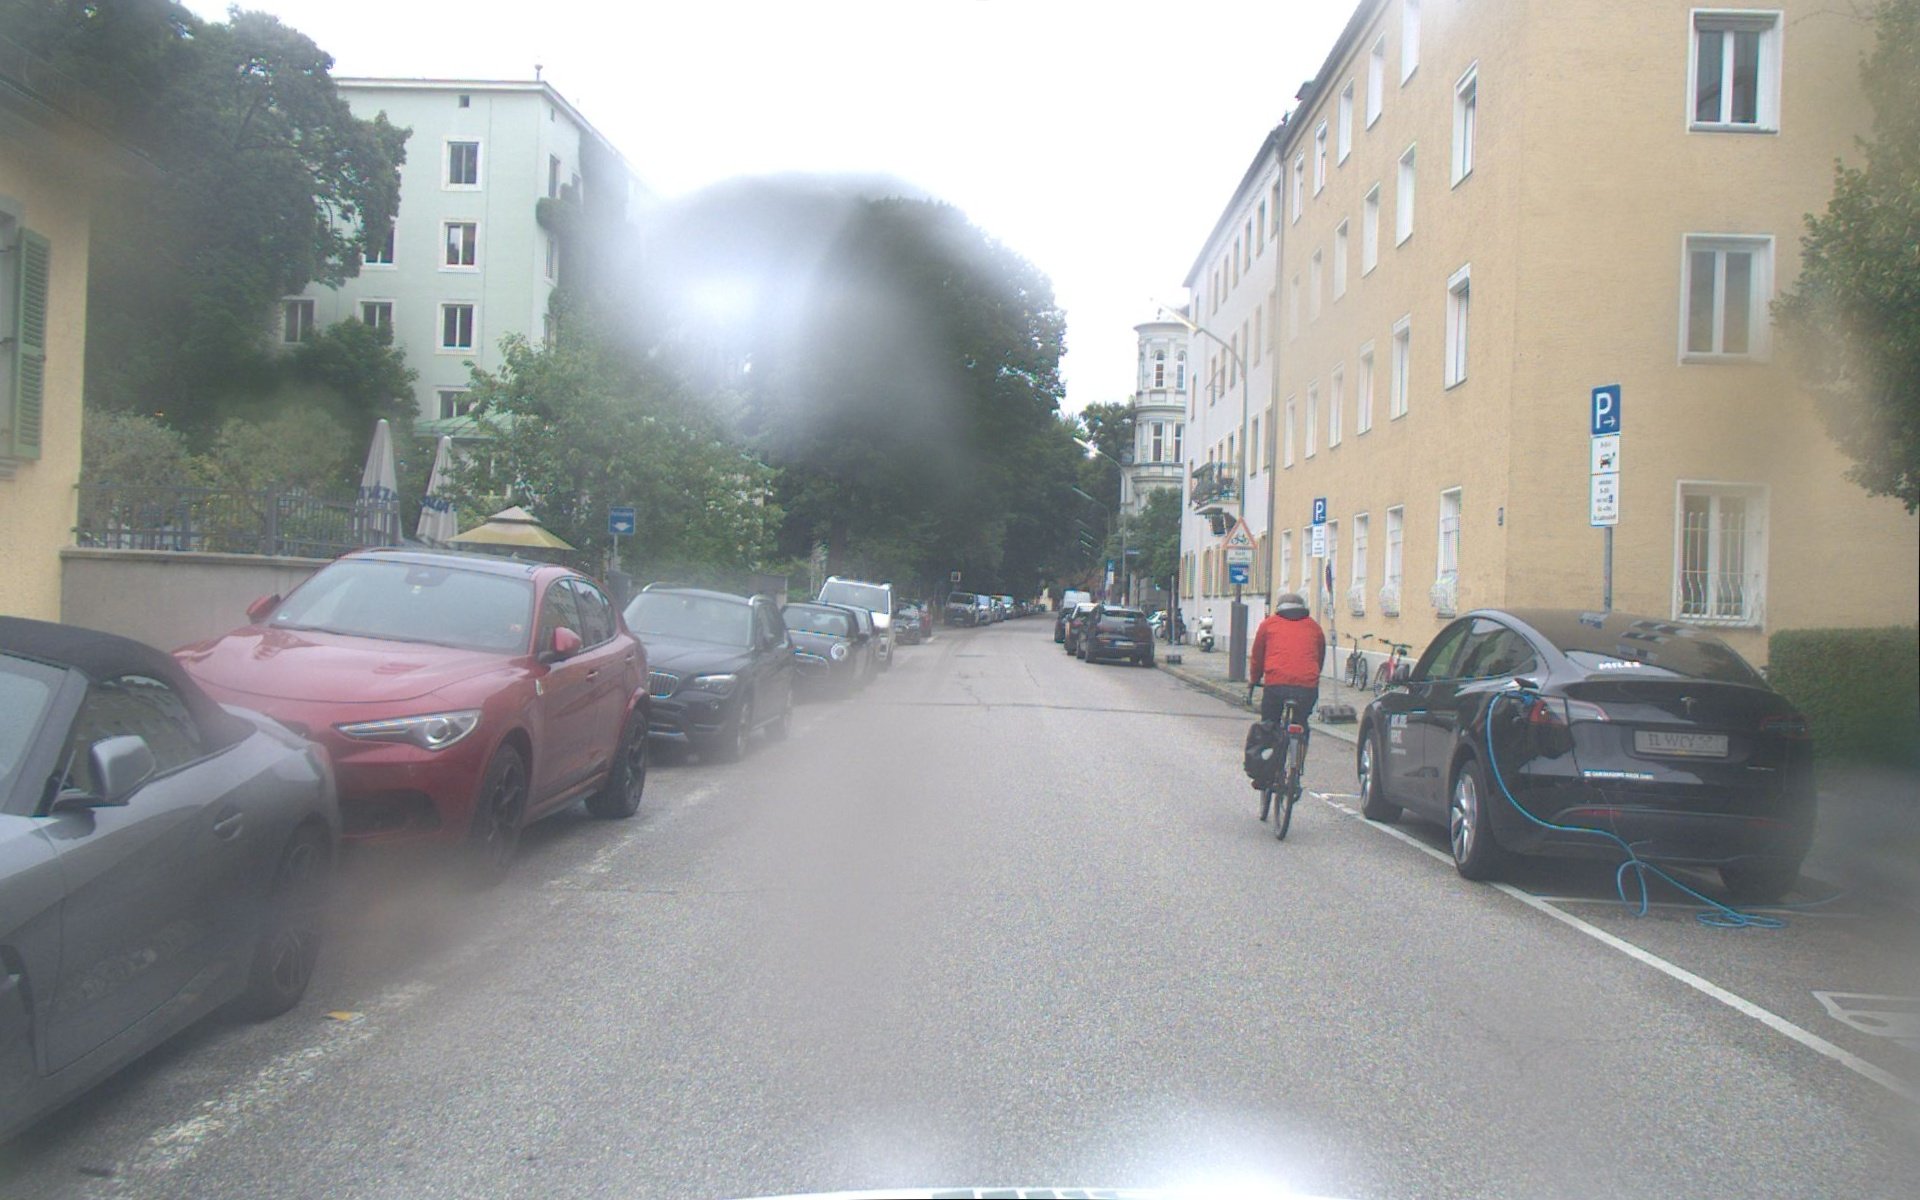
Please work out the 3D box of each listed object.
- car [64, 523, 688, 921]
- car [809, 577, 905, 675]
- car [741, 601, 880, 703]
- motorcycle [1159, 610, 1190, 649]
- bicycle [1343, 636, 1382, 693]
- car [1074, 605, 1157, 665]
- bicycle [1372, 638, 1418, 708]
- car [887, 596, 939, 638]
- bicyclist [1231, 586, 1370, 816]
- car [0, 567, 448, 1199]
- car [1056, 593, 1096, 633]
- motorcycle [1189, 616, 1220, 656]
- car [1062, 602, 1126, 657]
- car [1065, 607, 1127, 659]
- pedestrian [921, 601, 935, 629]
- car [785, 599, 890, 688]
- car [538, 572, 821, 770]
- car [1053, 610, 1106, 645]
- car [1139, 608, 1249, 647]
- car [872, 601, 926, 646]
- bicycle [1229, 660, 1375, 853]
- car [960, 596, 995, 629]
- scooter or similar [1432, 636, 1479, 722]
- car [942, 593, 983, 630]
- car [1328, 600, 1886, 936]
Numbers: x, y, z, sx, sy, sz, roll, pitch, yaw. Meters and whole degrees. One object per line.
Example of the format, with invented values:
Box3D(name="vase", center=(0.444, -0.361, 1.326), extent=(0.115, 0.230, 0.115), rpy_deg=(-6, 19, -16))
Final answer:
Box3D(name="car", center=(-3.102, 0.573, 10.062), extent=(1.863, 1.721, 4.809), rpy_deg=(3, 0, 2))
Box3D(name="car", center=(-2.338, 0.572, 38.910), extent=(1.927, 2.025, 5.150), rpy_deg=(3, 0, -1))
Box3D(name="car", center=(-2.430, 0.821, 27.844), extent=(1.820, 1.572, 4.189), rpy_deg=(0, 0, 2))
Box3D(name="motorcycle", center=(8.335, 1.126, 64.368), extent=(0.839, 1.458, 2.706), rpy_deg=(2, 0, 0))
Box3D(name="bicycle", center=(8.062, 1.279, 33.172), extent=(0.335, 1.101, 1.813), rpy_deg=(0, -1, 0))
Box3D(name="car", center=(4.441, 0.975, 47.962), extent=(1.822, 1.604, 4.898), rpy_deg=(1, 0, -1))
Box3D(name="bicycle", center=(7.701, 1.273, 29.315), extent=(0.335, 1.155, 1.759), rpy_deg=(2, 0, 0))
Box3D(name="car", center=(-1.936, 0.705, 69.426), extent=(1.848, 1.618, 4.528), rpy_deg=(3, 0, 1))
Box3D(name="bicyclist", center=(2.384, 0.683, 11.677), extent=(0.739, 1.509, 0.982), rpy_deg=(3, -1, 3))
Box3D(name="car", center=(-3.077, 0.688, 4.667), extent=(1.858, 1.545, 4.653), rpy_deg=(4, 0, -2))
Box3D(name="car", center=(6.806, 0.782, 97.254), extent=(2.158, 2.247, 4.856), rpy_deg=(1, -1, 2))
Box3D(name="motorcycle", center=(8.208, 1.192, 55.575), extent=(0.717, 1.260, 2.007), rpy_deg=(3, -1, 0))
Box3D(name="car", center=(4.711, 1.000, 58.701), extent=(1.953, 1.736, 4.535), rpy_deg=(4, 0, 2))
Box3D(name="car", center=(4.336, 1.027, 53.404), extent=(1.800, 1.558, 4.417), rpy_deg=(1, 0, 3))
Box3D(name="pedestrian", center=(-1.815, 0.860, 94.729), extent=(0.699, 1.575, 0.752), rpy_deg=(4, -1, -2))
Box3D(name="car", center=(-2.369, 0.804, 32.934), extent=(1.849, 1.570, 4.694), rpy_deg=(2, 0, -2))
Box3D(name="car", center=(-2.680, 0.636, 16.972), extent=(1.807, 1.635, 4.744), rpy_deg=(3, 0, 3))
Box3D(name="car", center=(4.879, 1.110, 68.201), extent=(1.958, 1.342, 4.596), rpy_deg=(0, 0, 1))
Box3D(name="car", center=(10.825, 1.284, 76.722), extent=(4.805, 1.558, 1.914), rpy_deg=(2, 2, 1))
Box3D(name="car", center=(-2.155, 0.815, 59.690), extent=(1.771, 1.426, 4.923), rpy_deg=(4, 0, -1))
Box3D(name="bicycle", center=(2.389, 1.057, 11.776), extent=(0.658, 1.161, 2.011), rpy_deg=(3, -1, 3))
Box3D(name="car", center=(1.153, 0.824, 109.228), extent=(2.139, 1.990, 5.167), rpy_deg=(3, 0, 1))
Box3D(name="scooter or similar", center=(7.640, 1.202, 25.532), extent=(0.335, 1.277, 1.309), rpy_deg=(0, -1, 0))
Box3D(name="car", center=(0.162, 0.690, 97.541), extent=(2.201, 1.990, 5.454), rpy_deg=(3, 0, 1))
Box3D(name="car", center=(4.006, 0.906, 11.351), extent=(1.952, 1.659, 5.101), rpy_deg=(3, 0, 3))
